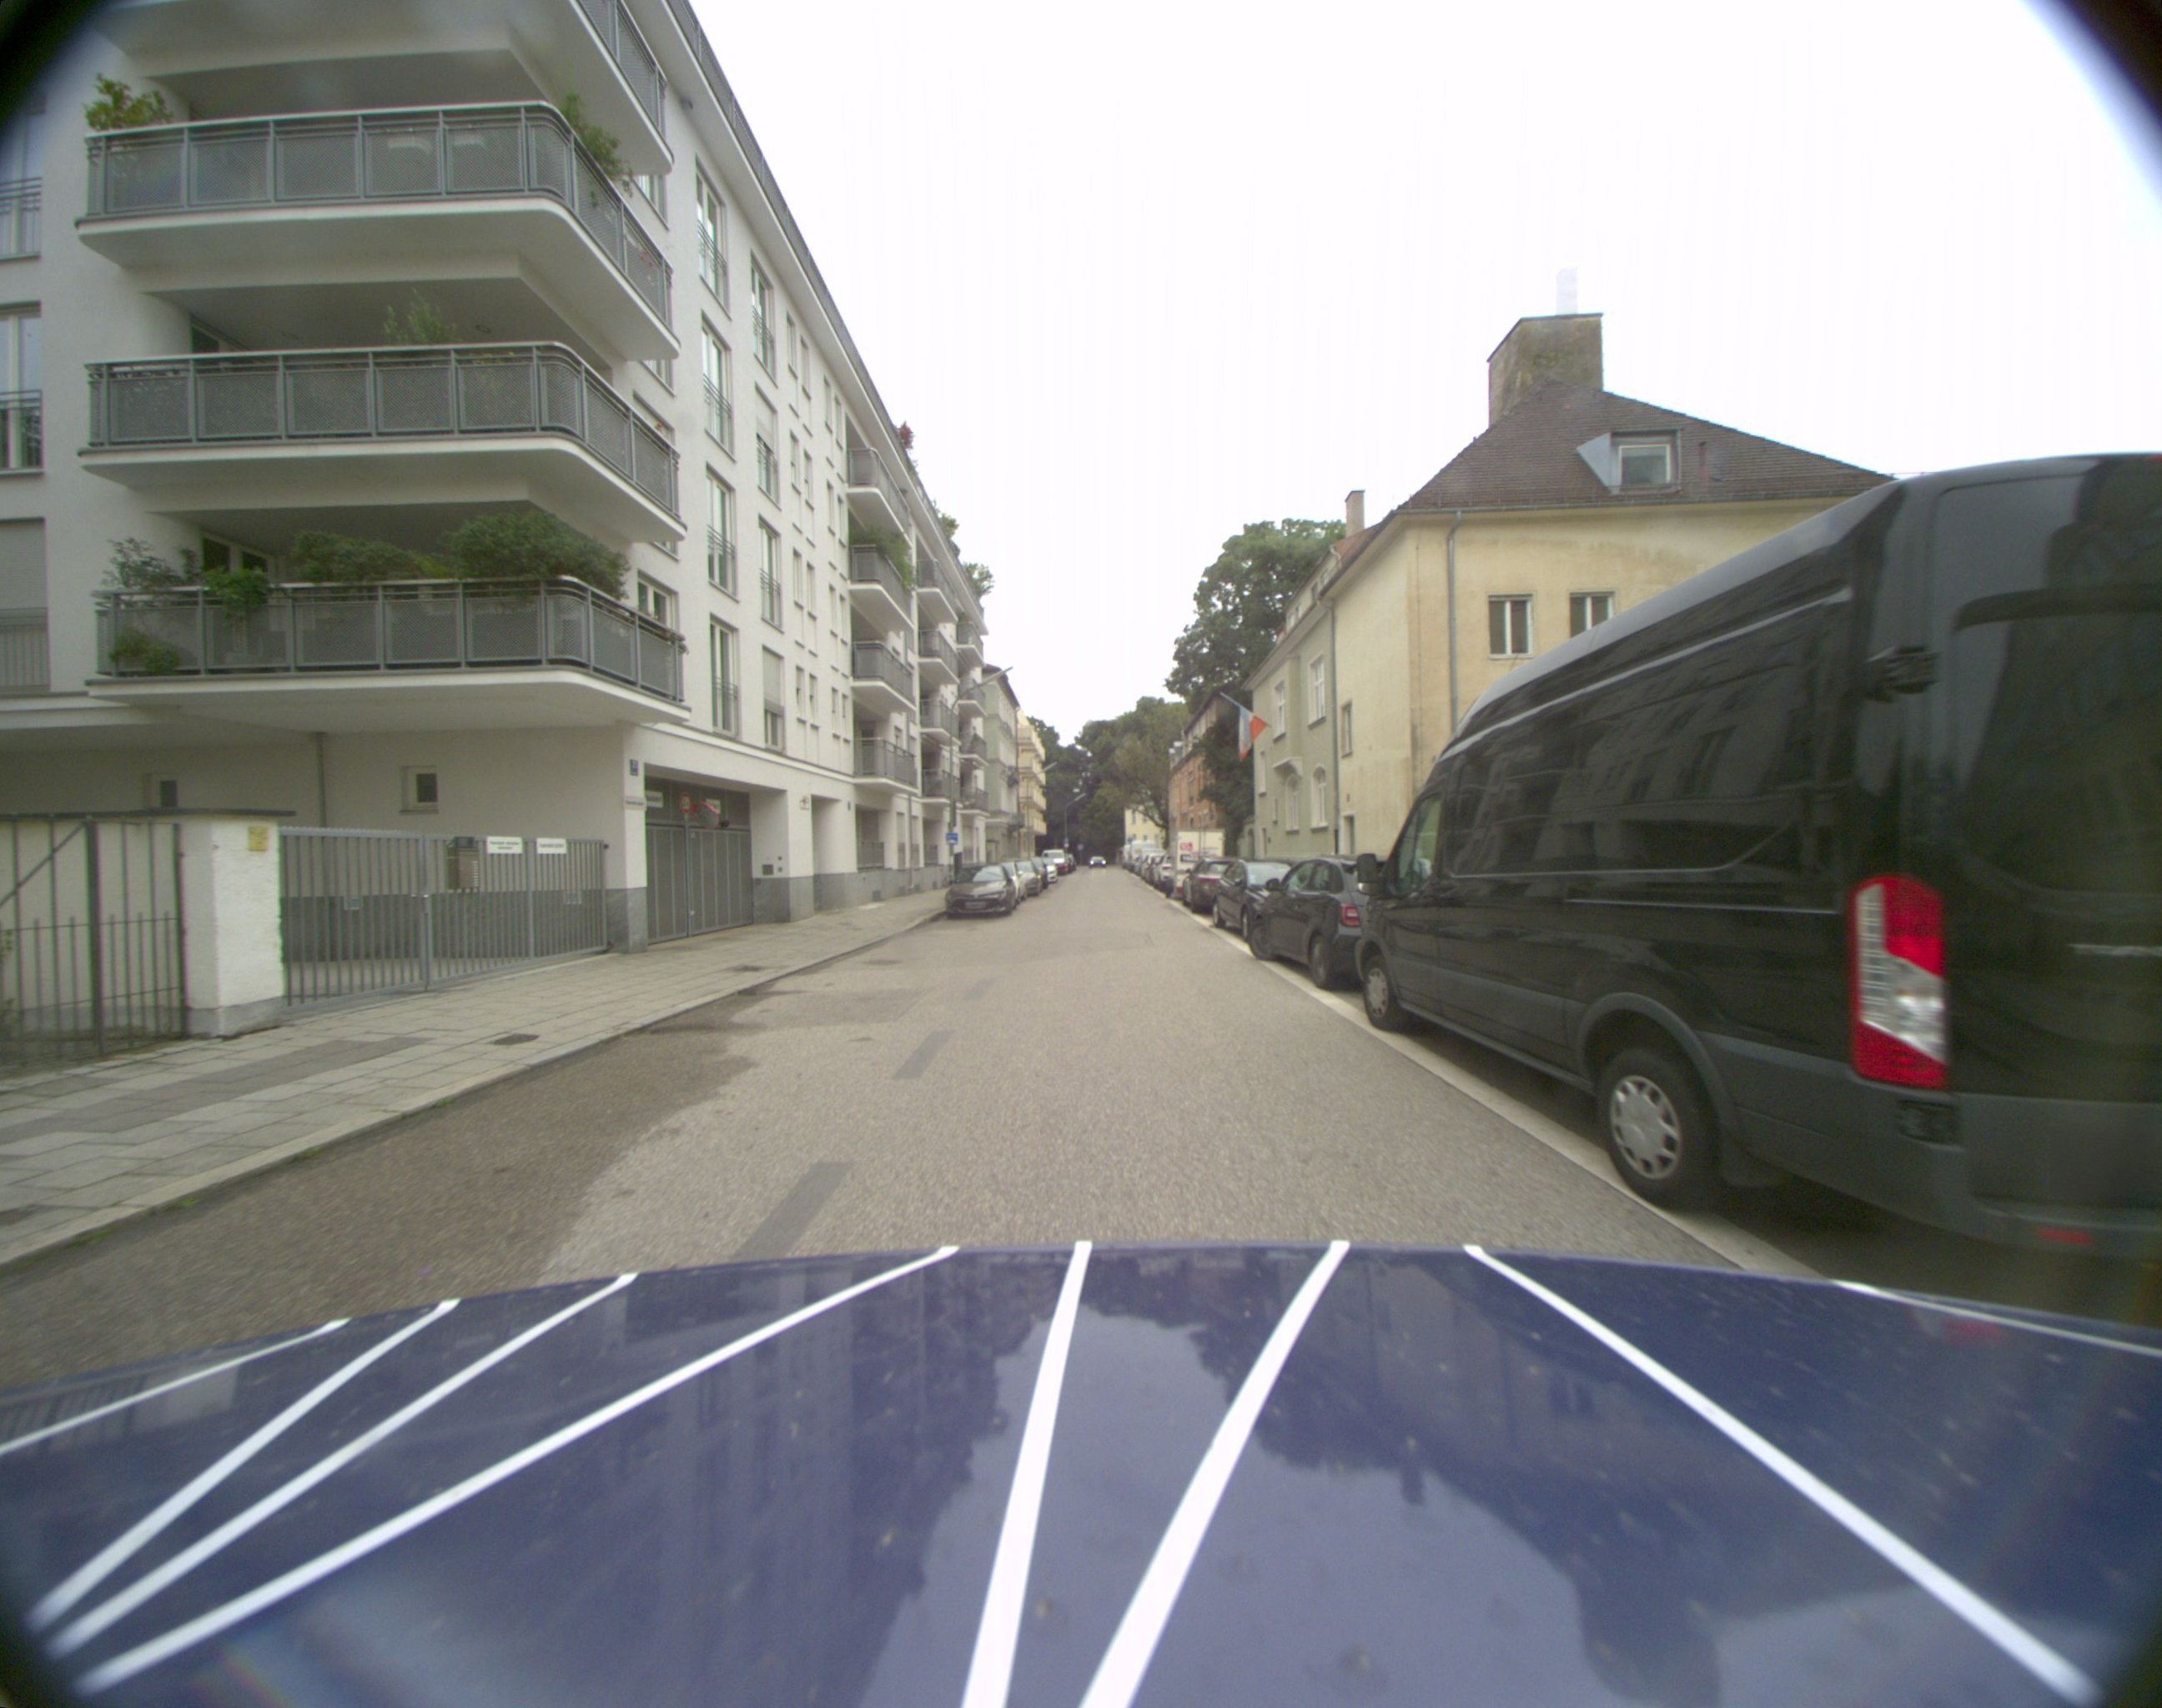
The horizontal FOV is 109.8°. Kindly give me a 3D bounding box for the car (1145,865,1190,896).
[{"bbox_3d":[4.191,1.262,37.509,1.750,1.360,4.403,0,0,1],"label":"car"}]

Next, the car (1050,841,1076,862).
[{"bbox_3d":[-1.485,-0.215,64.268,1.860,1.700,4.698,-2,0,2],"label":"car"}]

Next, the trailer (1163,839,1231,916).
[{"bbox_3d":[4.015,0.729,27.003,1.980,2.457,4.578,1,1,5],"label":"trailer"}]

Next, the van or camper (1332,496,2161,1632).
[{"bbox_3d":[3.470,0.496,4.504,2.298,2.635,5.562,0,0,2],"label":"van or camper"}]

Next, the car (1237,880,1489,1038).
[{"bbox_3d":[3.336,1.160,9.840,1.657,1.488,3.908,0,0,-2],"label":"car"}]

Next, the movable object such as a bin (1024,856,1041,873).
[{"bbox_3d":[-3.515,0.761,55.362,1.023,1.186,2.163,1,0,2],"label":"movable object such as a bin"}]

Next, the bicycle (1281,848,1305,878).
[{"bbox_3d":[8.164,0.339,29.337,0.461,1.078,1.523,-3,1,0],"label":"bicycle"}]

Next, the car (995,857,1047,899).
[{"bbox_3d":[-2.442,0.940,31.881,1.796,1.473,4.603,-3,0,0],"label":"car"}]

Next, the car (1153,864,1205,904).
[{"bbox_3d":[4.054,1.191,31.955,1.683,1.521,4.107,0,0,1],"label":"car"}]

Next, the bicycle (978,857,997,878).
[{"bbox_3d":[-5.472,0.767,44.470,0.803,1.165,1.973,-2,0,2],"label":"bicycle"}]

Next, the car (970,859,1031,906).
[{"bbox_3d":[-2.780,0.948,26.886,1.621,1.458,3.746,-3,0,1],"label":"car"}]

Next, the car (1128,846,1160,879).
[{"bbox_3d":[4.913,0.646,59.472,2.117,2.461,5.231,0,0,1],"label":"car"}]

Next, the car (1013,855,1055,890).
[{"bbox_3d":[-2.292,0.886,37.701,1.842,1.524,4.020,-3,0,-1],"label":"car"}]

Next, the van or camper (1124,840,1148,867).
[{"bbox_3d":[5.422,-0.035,75.898,2.116,2.646,4.958,0,0,1],"label":"van or camper"}]

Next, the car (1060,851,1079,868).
[{"bbox_3d":[-1.112,0.510,75.642,1.771,1.607,4.263,-2,0,1],"label":"car"}]

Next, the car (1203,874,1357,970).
[{"bbox_3d":[3.559,1.159,14.408,1.679,1.428,4.285,0,0,-2],"label":"car"}]

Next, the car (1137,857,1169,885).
[{"bbox_3d":[4.612,1.059,49.142,1.719,1.745,4.250,0,0,1],"label":"car"}]

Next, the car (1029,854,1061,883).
[{"bbox_3d":[-2.039,0.771,43.736,1.668,1.459,4.374,-1,1,-1],"label":"car"}]

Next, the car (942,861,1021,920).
[{"bbox_3d":[-2.760,0.978,21.988,1.776,1.467,4.217,-2,0,-1],"label":"car"}]

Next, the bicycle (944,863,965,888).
[{"bbox_3d":[-5.962,1.010,35.857,0.570,1.091,1.810,2,0,2],"label":"bicycle"}]

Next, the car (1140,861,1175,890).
[{"bbox_3d":[4.258,1.183,42.824,1.630,1.459,3.520,0,0,1],"label":"car"}]

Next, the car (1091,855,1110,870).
[{"bbox_3d":[2.165,0.941,86.439,1.998,1.521,4.000,-3,0,1],"label":"car"}]

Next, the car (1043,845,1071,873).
[{"bbox_3d":[-1.812,0.359,58.661,1.858,2.019,4.783,-2,0,1],"label":"car"}]

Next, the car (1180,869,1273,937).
[{"bbox_3d":[3.858,1.235,21.016,1.868,1.532,5.092,0,0,3],"label":"car"}]
